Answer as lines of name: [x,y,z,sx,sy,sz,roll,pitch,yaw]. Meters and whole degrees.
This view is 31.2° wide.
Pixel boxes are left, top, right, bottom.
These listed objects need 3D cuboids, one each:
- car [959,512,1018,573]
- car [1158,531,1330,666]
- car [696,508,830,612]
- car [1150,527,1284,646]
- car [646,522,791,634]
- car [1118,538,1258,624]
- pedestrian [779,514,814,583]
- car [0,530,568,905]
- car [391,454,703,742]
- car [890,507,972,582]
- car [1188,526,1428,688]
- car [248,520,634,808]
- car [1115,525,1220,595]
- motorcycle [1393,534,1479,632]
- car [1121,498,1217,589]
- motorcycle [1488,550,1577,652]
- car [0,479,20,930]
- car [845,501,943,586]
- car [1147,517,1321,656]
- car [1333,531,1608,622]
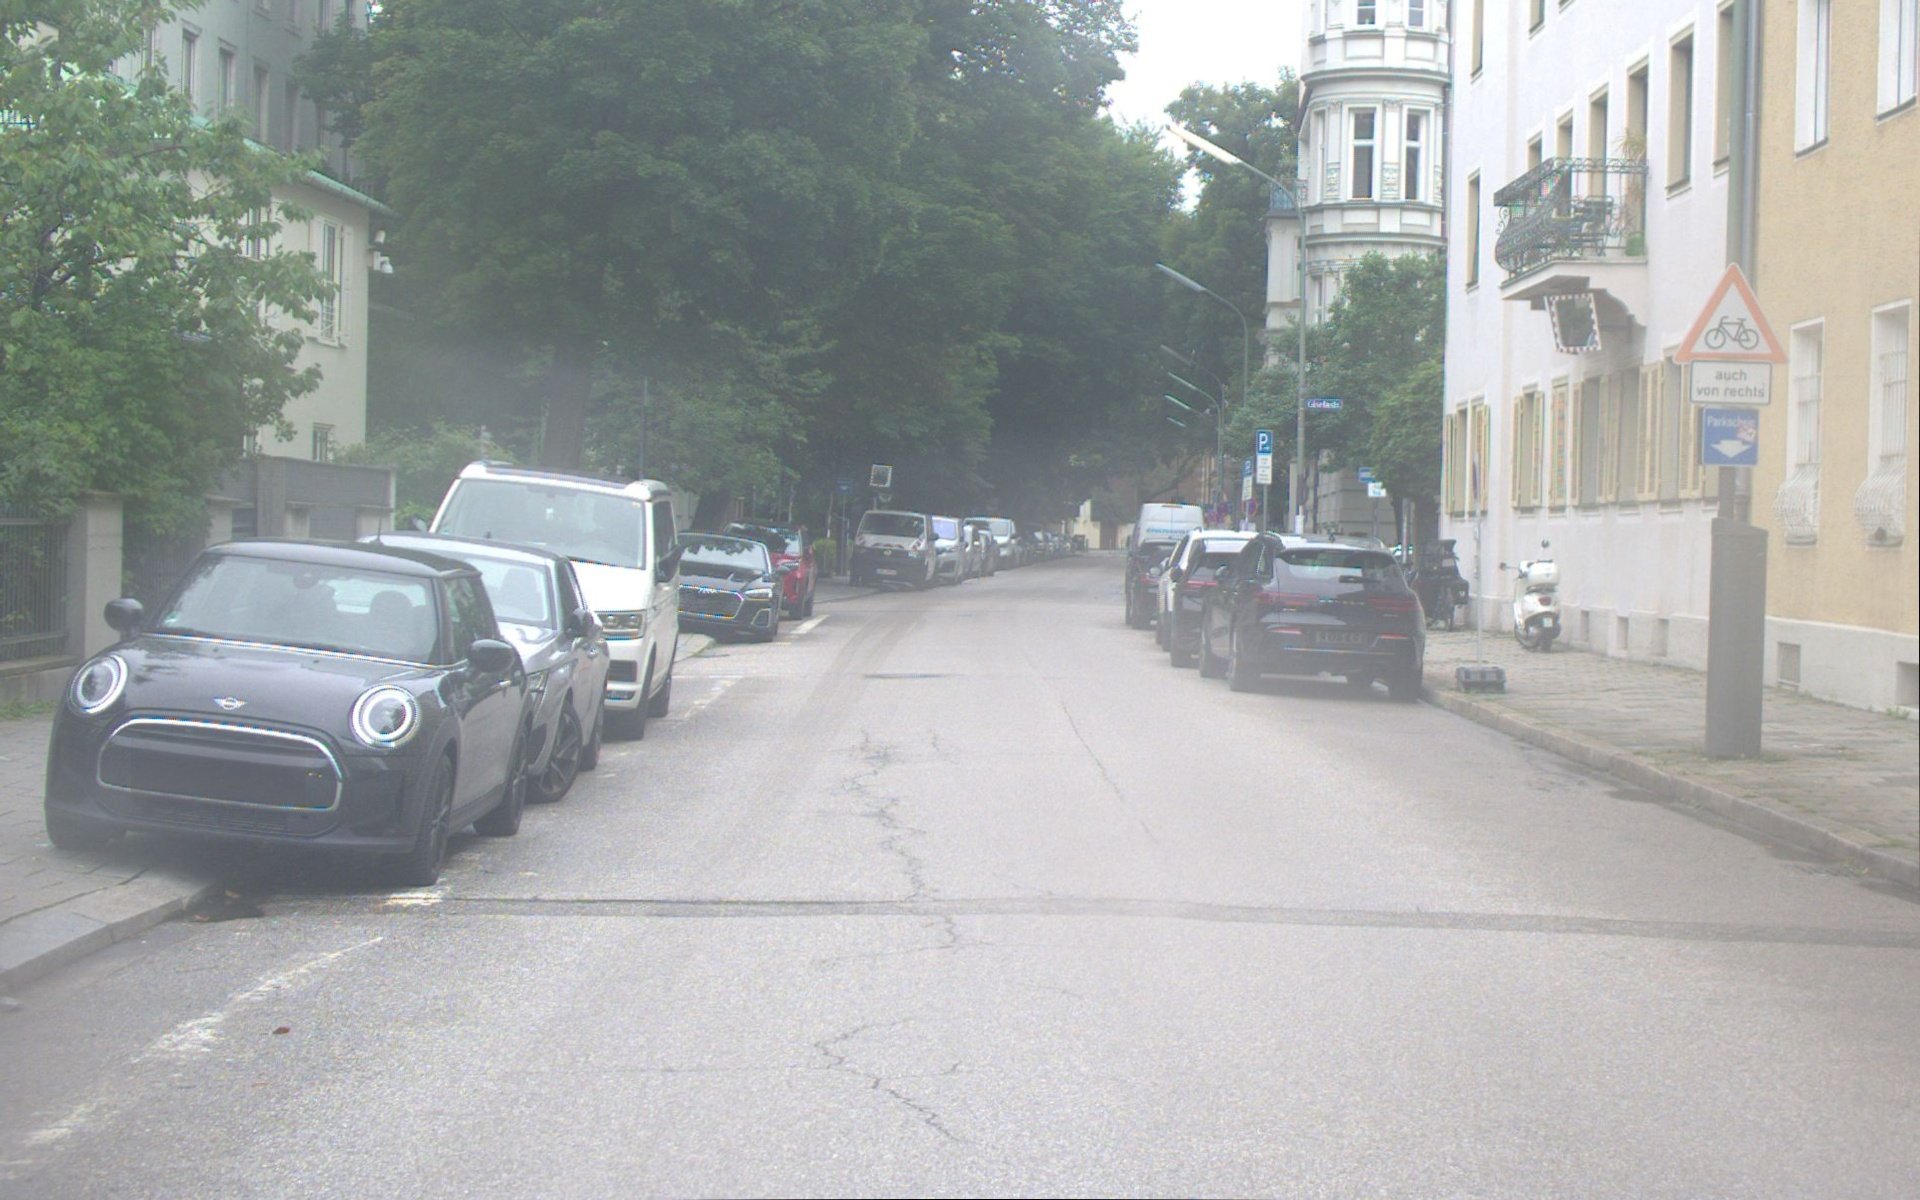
car: [1.096,-2.182,130.596,2.002,2.179,4.696,3,1,2]
car: [3.406,-0.062,41.864,1.838,1.526,4.415,1,1,2]
car: [-3.273,-0.692,57.839,1.887,1.585,4.528,3,1,0]
car: [3.834,-0.234,51.782,1.771,1.540,3.711,6,1,3]
car: [-3.329,-0.344,48.107,1.807,1.397,4.925,3,1,-2]
car: [3.710,-0.348,56.662,2.000,1.314,4.595,-1,1,0]
pedestrian: [-3.776,-1.188,79.329,0.713,1.543,0.753,3,1,-3]
car: [-3.067,0.443,16.268,1.859,1.539,4.188,0,1,1]
car: [-3.165,-0.072,27.325,1.966,1.983,5.152,3,1,-2]
car: [-0.796,-1.585,97.650,2.183,1.950,5.167,3,1,0]
car: [3.606,0.019,36.423,1.860,1.571,4.900,1,1,-2]
car: [-3.092,0.301,21.357,1.887,1.538,4.697,1,1,-3]
car: [4.792,-0.921,78.763,2.273,1.541,4.586,0,1,5]
motorcycle: [7.304,-0.281,52.850,0.857,1.428,2.707,1,1,-1]
car: [5.179,-1.403,85.709,2.204,2.200,4.855,0,1,1]
motorcycle: [7.325,0.000,44.060,0.732,1.235,2.008,3,1,-1]
car: [-3.140,0.530,5.393,1.845,1.602,4.742,3,1,2]
car: [-1.610,-1.418,85.957,2.247,1.950,5.454,3,1,0]
car: [3.699,-0.222,47.161,1.993,1.701,4.534,3,1,1]
car: [9.637,-0.459,65.219,4.906,1.526,1.913,1,4,1]
